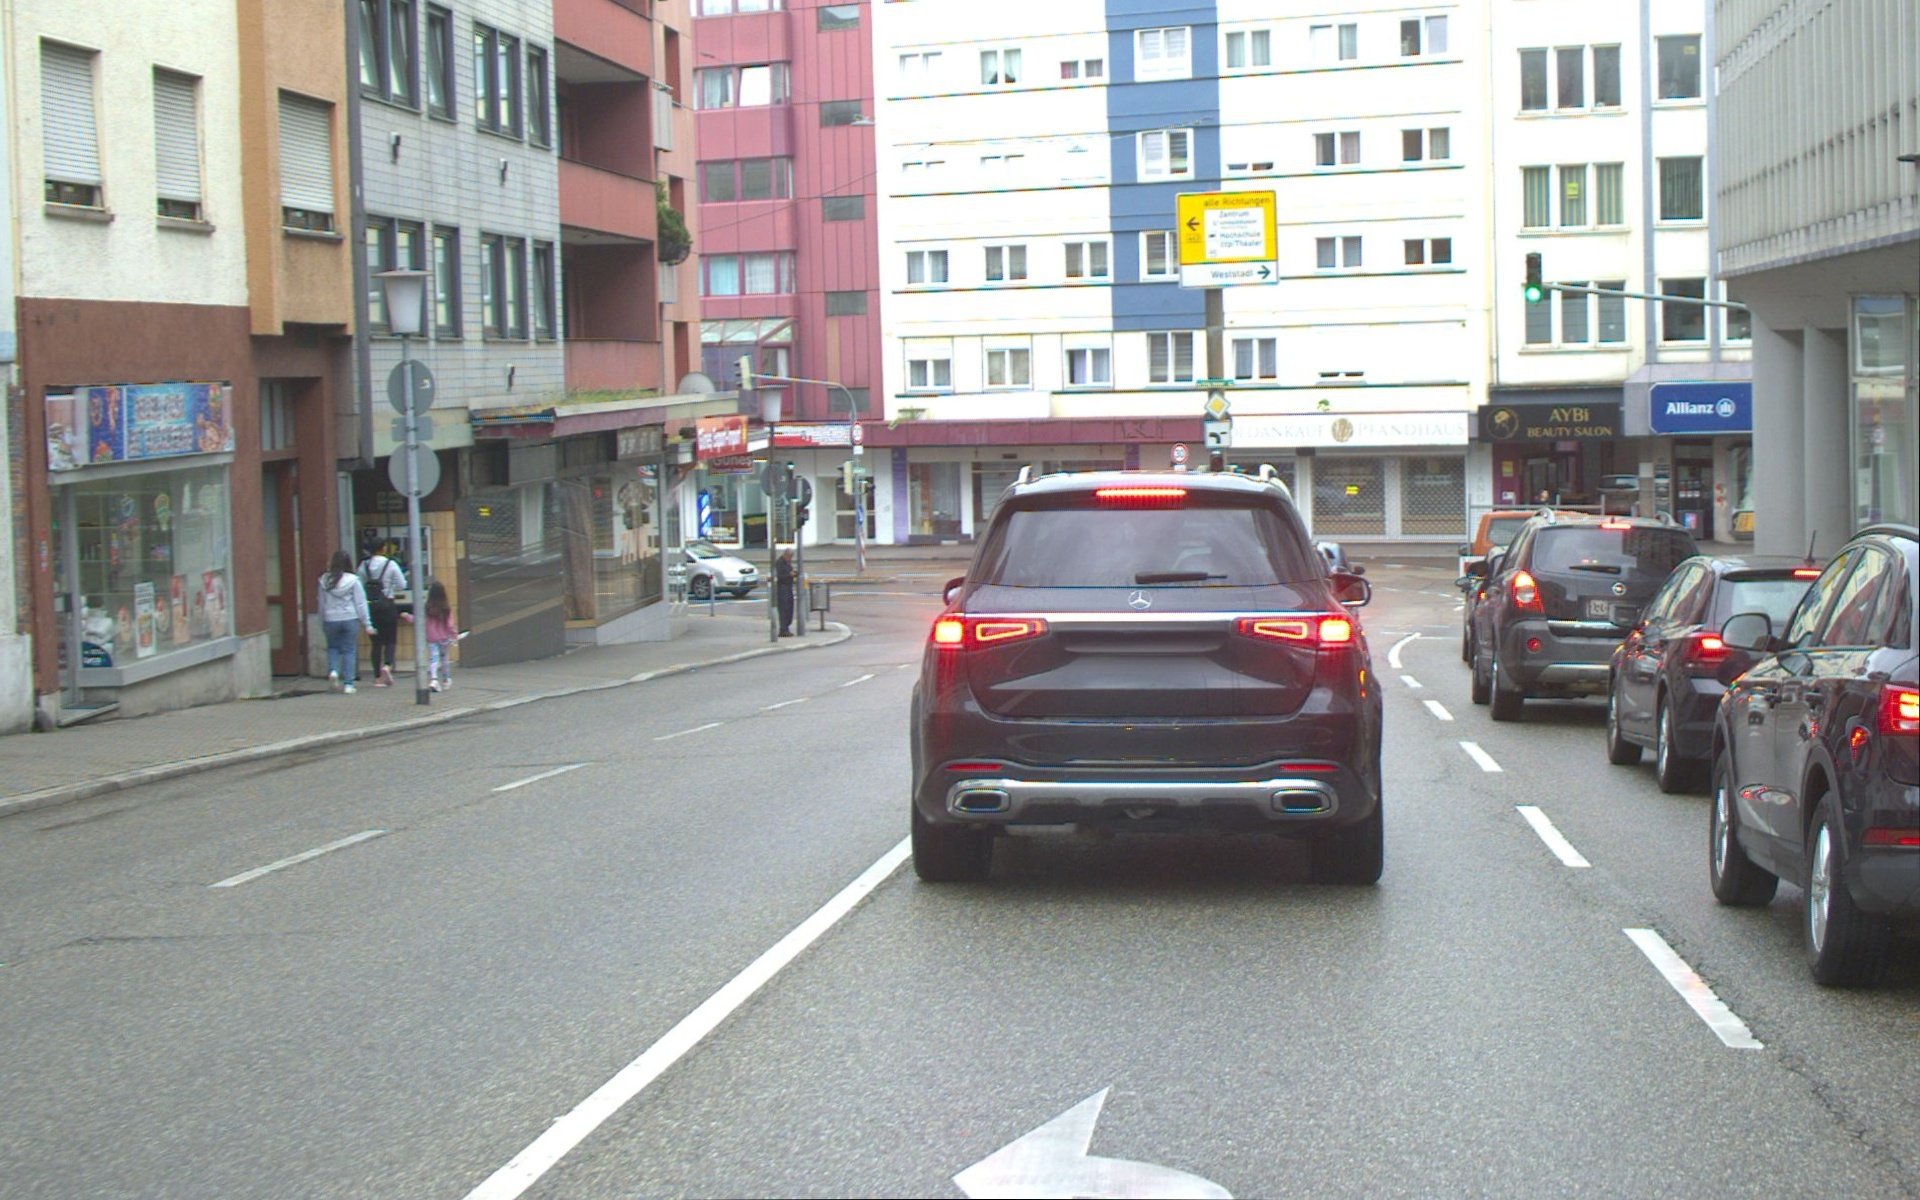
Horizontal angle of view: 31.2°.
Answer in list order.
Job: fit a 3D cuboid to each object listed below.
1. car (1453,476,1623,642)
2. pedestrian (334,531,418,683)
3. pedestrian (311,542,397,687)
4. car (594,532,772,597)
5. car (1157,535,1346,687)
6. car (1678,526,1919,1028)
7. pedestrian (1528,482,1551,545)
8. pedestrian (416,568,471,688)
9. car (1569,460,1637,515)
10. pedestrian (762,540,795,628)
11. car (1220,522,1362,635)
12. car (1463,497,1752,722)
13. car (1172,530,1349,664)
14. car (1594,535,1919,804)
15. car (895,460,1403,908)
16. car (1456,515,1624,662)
[{"bbox_3d":[8.232,-0.595,48.946,2.243,2.220,5.426,0,1,10],"label":"car"},{"bbox_3d":[-6.589,0.068,38.823,0.827,1.684,0.724,1,1,-3],"label":"pedestrian"},{"bbox_3d":[-6.646,0.152,37.717,0.827,1.555,0.724,1,1,-3],"label":"pedestrian"},{"bbox_3d":[-7.037,-0.919,87.352,4.166,1.587,1.739,1,2,21],"label":"car"},{"bbox_3d":[3.074,0.064,36.494,1.873,1.489,4.400,0,1,4],"label":"car"},{"bbox_3d":[3.871,0.541,12.712,1.823,1.554,4.201,2,1,5],"label":"car"},{"bbox_3d":[16.311,-2.438,96.755,0.564,1.683,0.755,-1,7,12],"label":"pedestrian"},{"bbox_3d":[-5.832,0.310,38.842,0.533,1.318,0.724,1,1,-3],"label":"pedestrian"},{"bbox_3d":[20.445,-3.554,109.179,1.798,1.664,3.998,-1,1,15],"label":"car"},{"bbox_3d":[-3.510,-0.317,66.574,0.554,1.691,0.624,-1,1,2],"label":"pedestrian"},{"bbox_3d":[4.793,-0.295,49.673,1.925,1.510,4.661,1,0,6],"label":"car"},{"bbox_3d":[5.385,0.022,29.096,1.898,1.689,4.505,2,1,5],"label":"car"},{"bbox_3d":[3.681,-0.077,41.723,1.994,1.481,4.236,-2,1,6],"label":"car"},{"bbox_3d":[5.097,0.367,21.685,1.688,1.472,4.000,2,1,4],"label":"car"},{"bbox_3d":[0.928,0.279,16.166,2.039,1.792,4.662,0,1,4],"label":"car"},{"bbox_3d":[6.917,-0.154,41.366,1.823,1.653,4.494,1,1,8],"label":"car"}]
